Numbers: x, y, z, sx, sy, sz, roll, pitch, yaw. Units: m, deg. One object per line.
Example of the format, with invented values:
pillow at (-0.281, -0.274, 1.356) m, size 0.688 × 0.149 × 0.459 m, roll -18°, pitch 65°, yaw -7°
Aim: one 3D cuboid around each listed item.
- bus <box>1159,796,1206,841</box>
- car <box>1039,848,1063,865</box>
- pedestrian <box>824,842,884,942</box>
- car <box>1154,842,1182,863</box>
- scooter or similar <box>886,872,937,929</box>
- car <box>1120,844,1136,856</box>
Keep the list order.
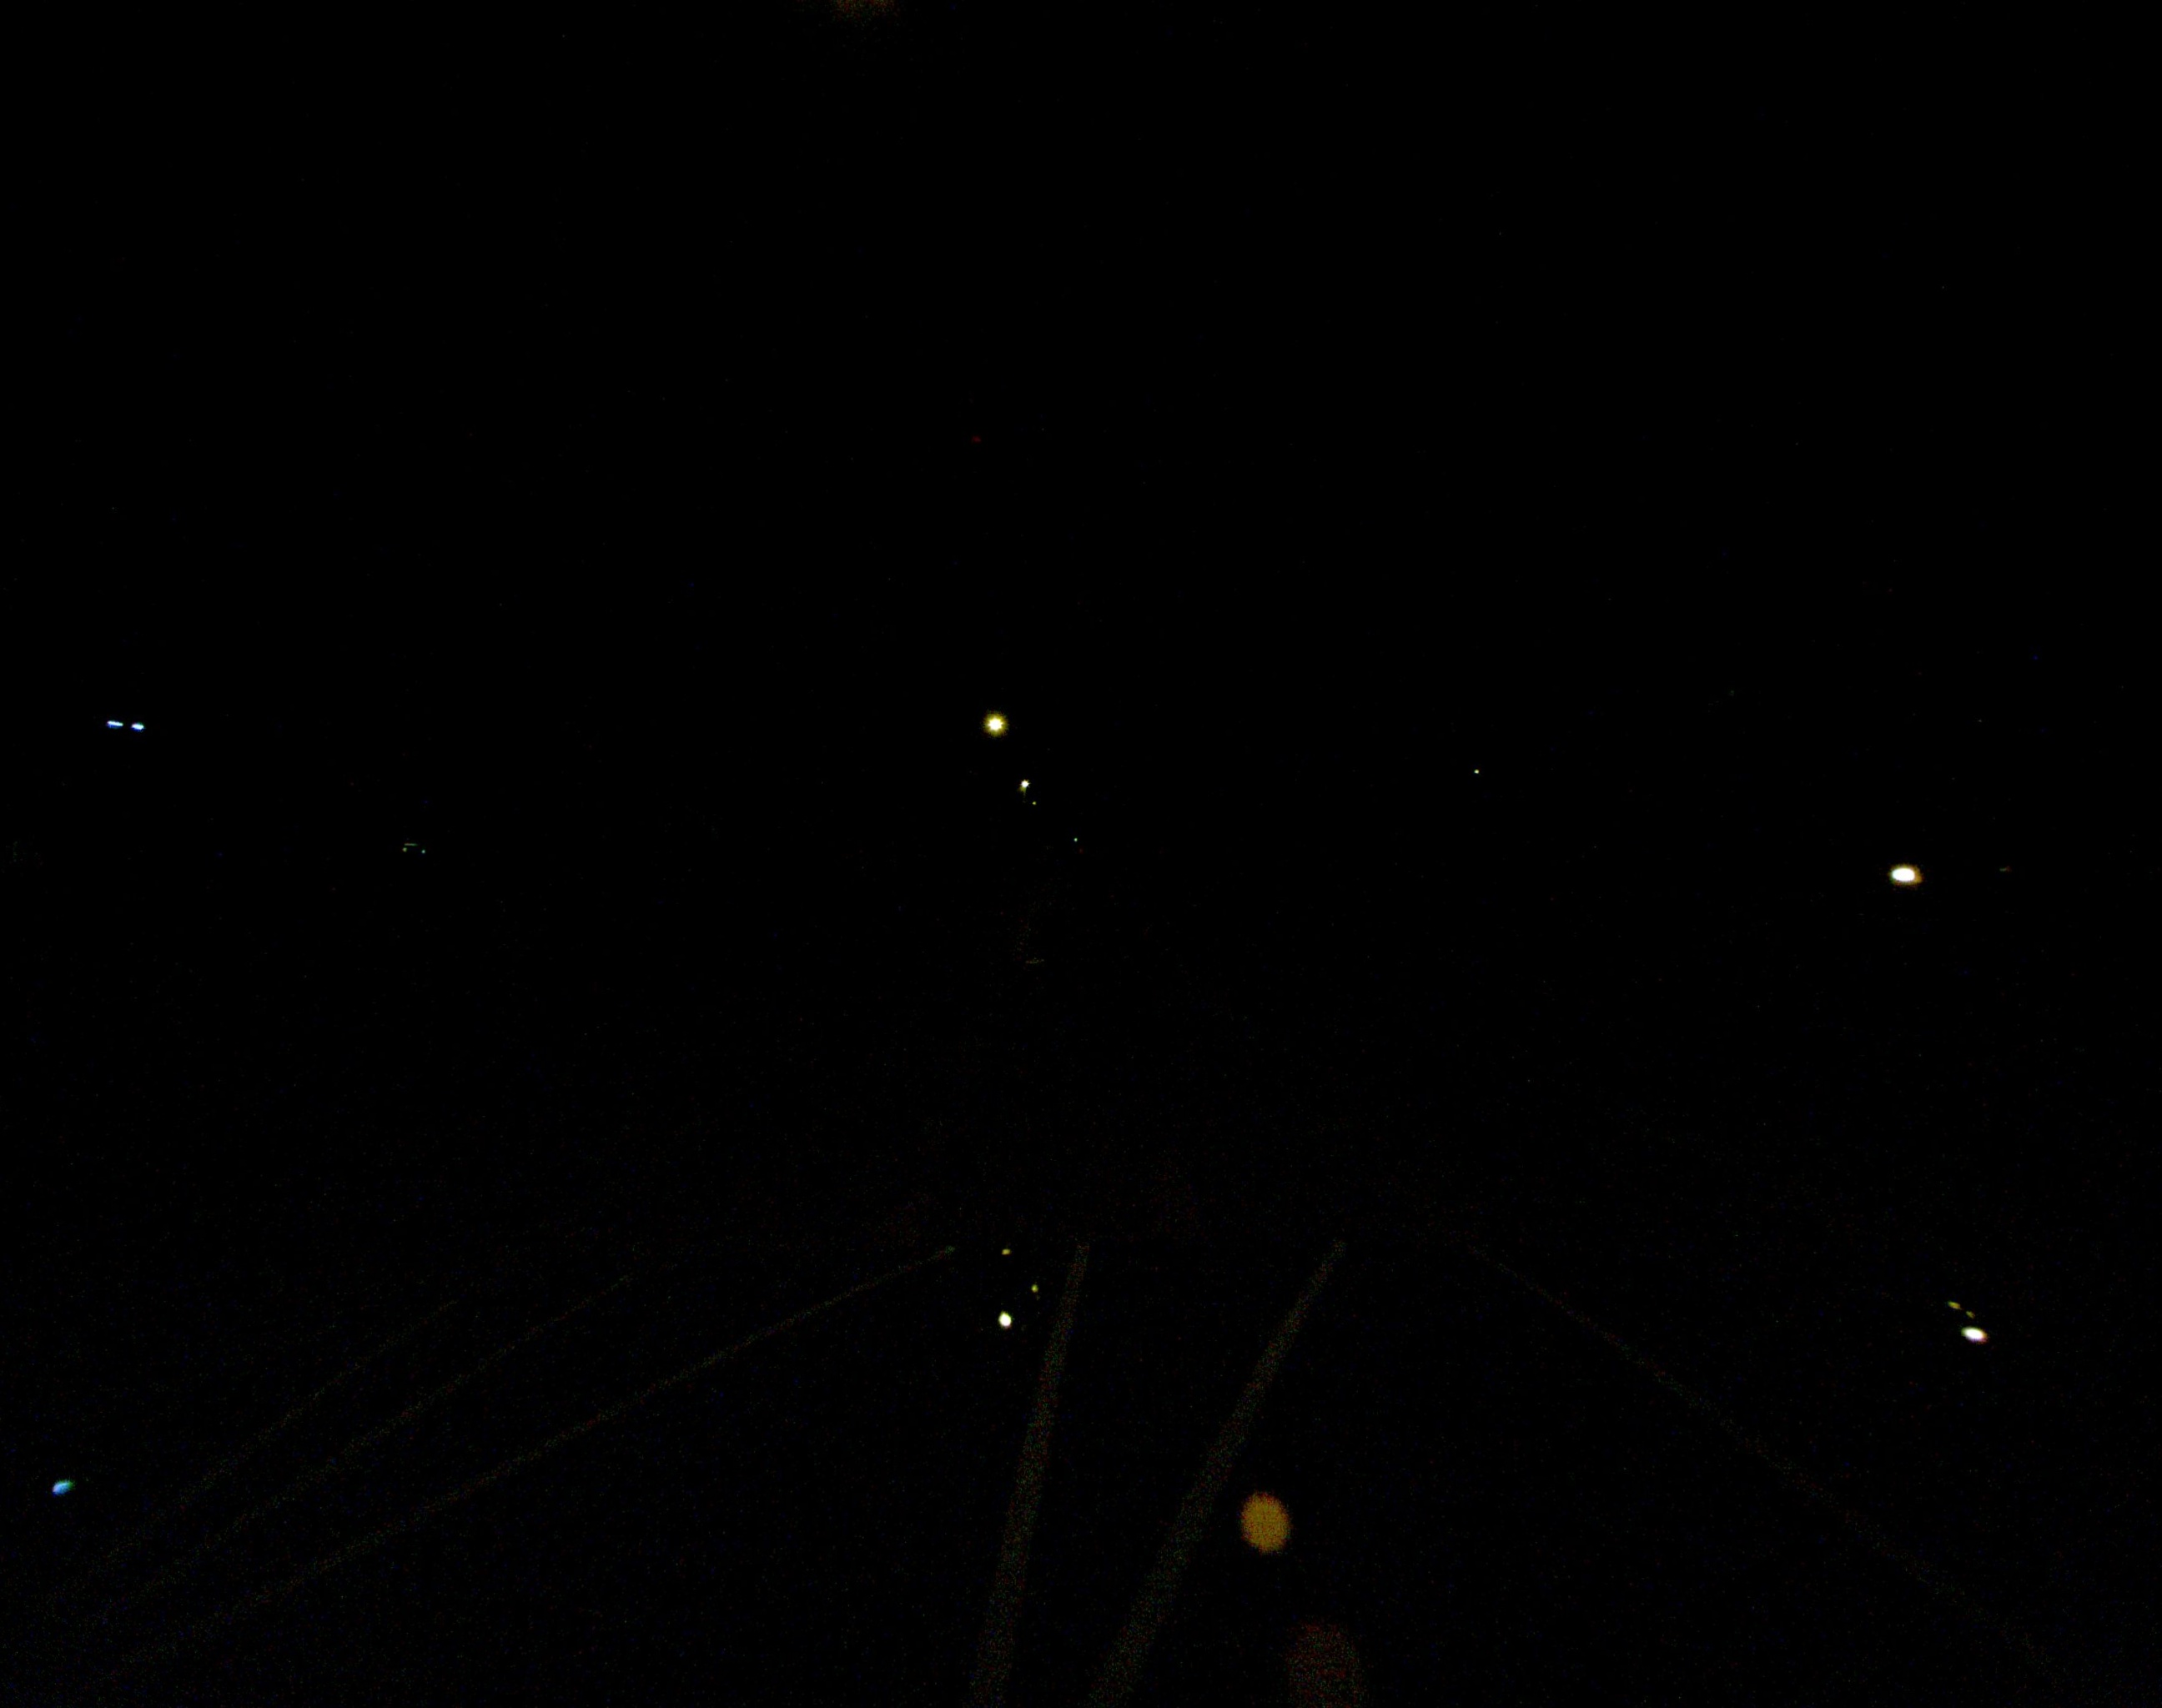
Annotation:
bus at (17.137, -5.852, 130.102) m, size 6.135 × 6.898 × 14.781 m, roll -2°, pitch 1°, yaw 1°
car at (-3.037, 0.224, 78.830) m, size 1.998 × 1.638 × 4.000 m, roll 0°, pitch 2°, yaw 5°
pedestrian at (-4.344, 0.708, 14.622) m, size 0.819 × 1.854 × 1.034 m, roll 0°, pitch 1°, yaw 1°
car at (7.002, -0.125, 61.482) m, size 1.806 × 1.583 × 3.999 m, roll -2°, pitch 1°, yaw 0°
scooter or similar at (-3.723, 1.004, 16.775) m, size 0.468 × 1.195 × 1.137 m, roll -2°, pitch 0°, yaw 24°
car at (6.301, -0.585, 101.248) m, size 1.863 × 1.484 × 4.080 m, roll -2°, pitch 1°, yaw 1°
